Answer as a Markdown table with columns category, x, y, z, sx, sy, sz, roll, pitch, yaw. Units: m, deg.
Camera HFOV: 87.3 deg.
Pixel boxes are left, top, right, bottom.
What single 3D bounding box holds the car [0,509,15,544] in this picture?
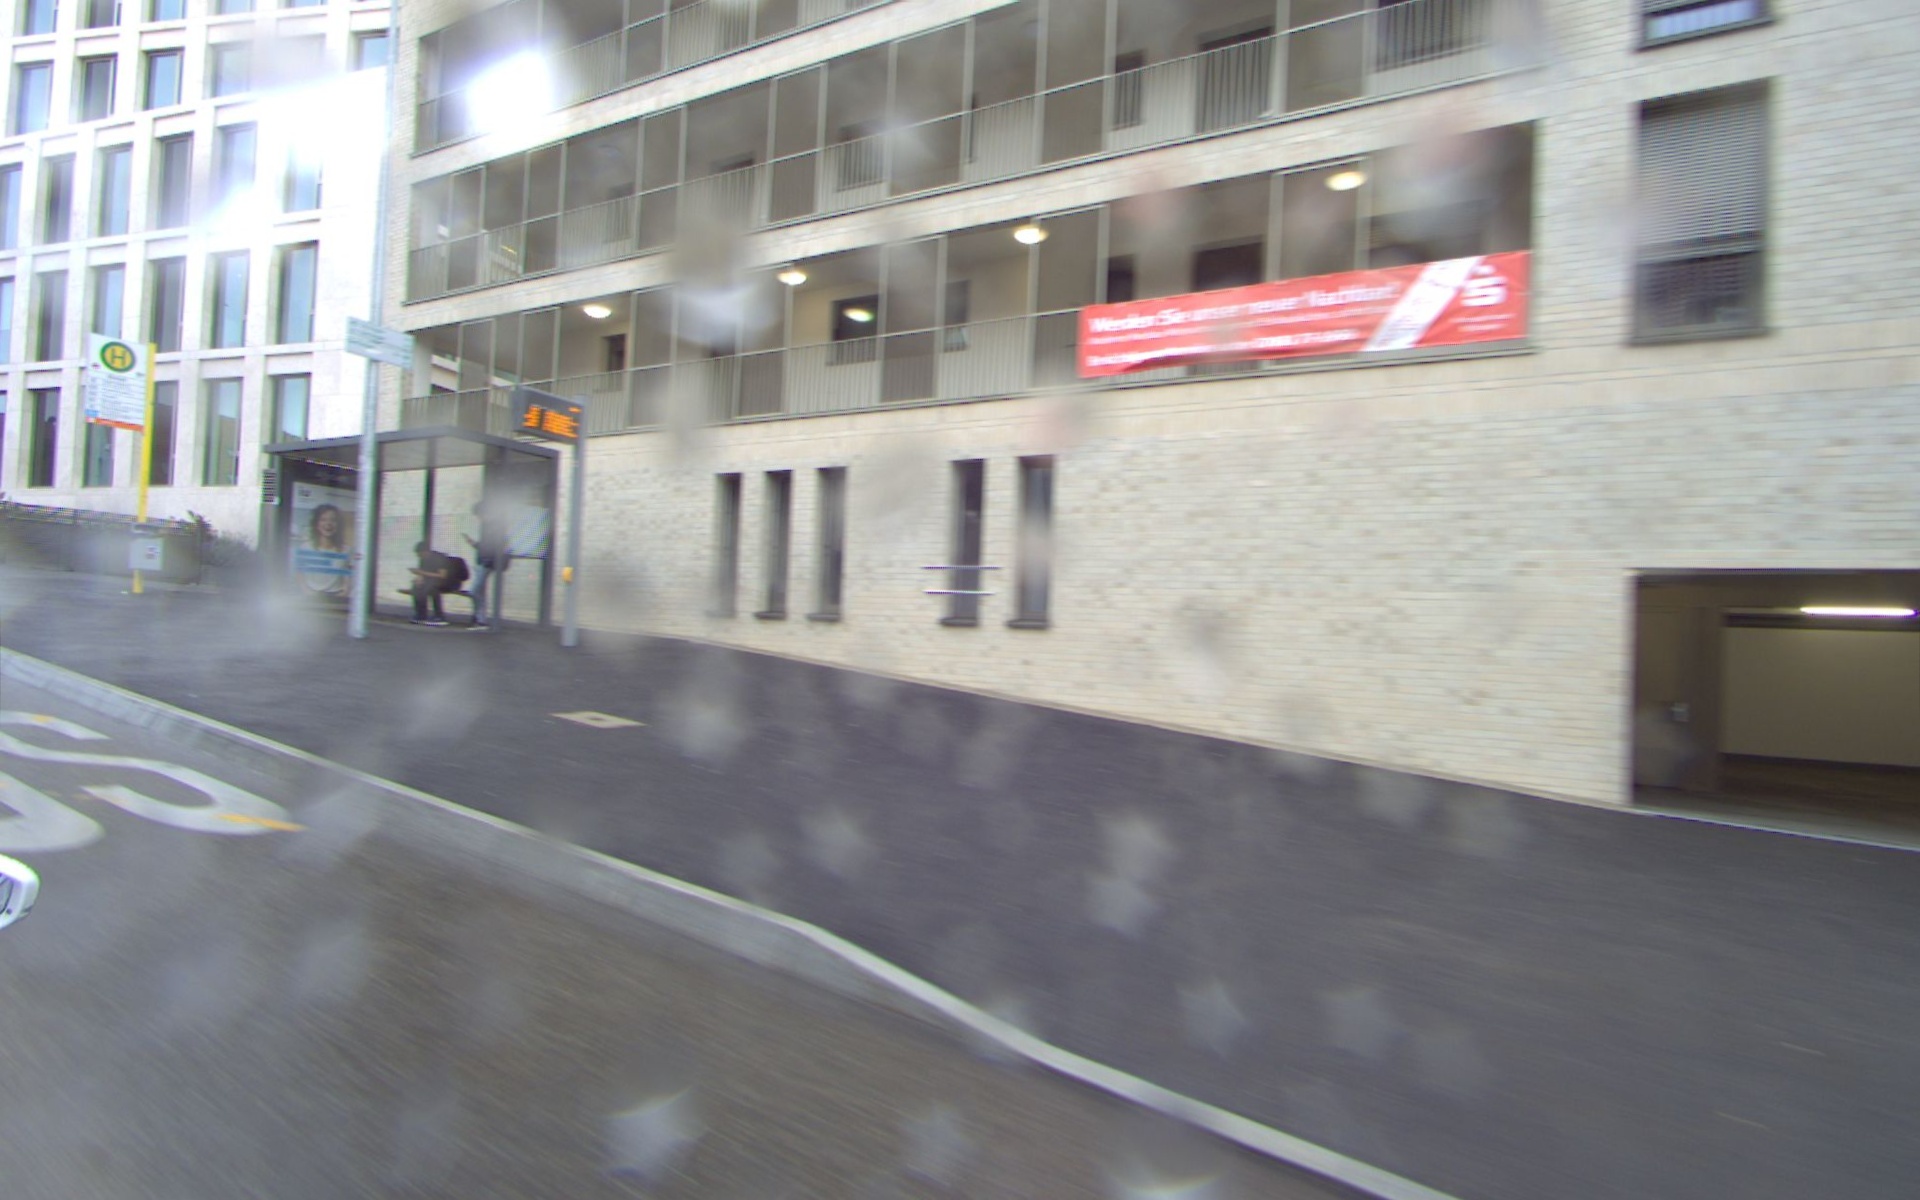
| category | x | y | z | sx | sy | sz | roll | pitch | yaw |
| --- | --- | --- | --- | --- | --- | --- | --- | --- | --- |
| car | -52.993 | -4.015 | 53.058 | 1.746 | 1.838 | 4.313 | 1 | 0 | 17 |

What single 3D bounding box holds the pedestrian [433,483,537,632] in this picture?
| category | x | y | z | sx | sy | sz | roll | pitch | yaw |
| --- | --- | --- | --- | --- | --- | --- | --- | --- | --- |
| pedestrian | -6.630 | -0.585 | 14.033 | 1.004 | 1.966 | 0.782 | 6 | 2 | 32 |

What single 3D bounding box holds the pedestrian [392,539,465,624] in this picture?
| category | x | y | z | sx | sy | sz | roll | pitch | yaw |
| --- | --- | --- | --- | --- | --- | --- | --- | --- | --- |
| pedestrian | -7.829 | -0.267 | 14.829 | 0.625 | 1.177 | 0.672 | 6 | 2 | 32 |
